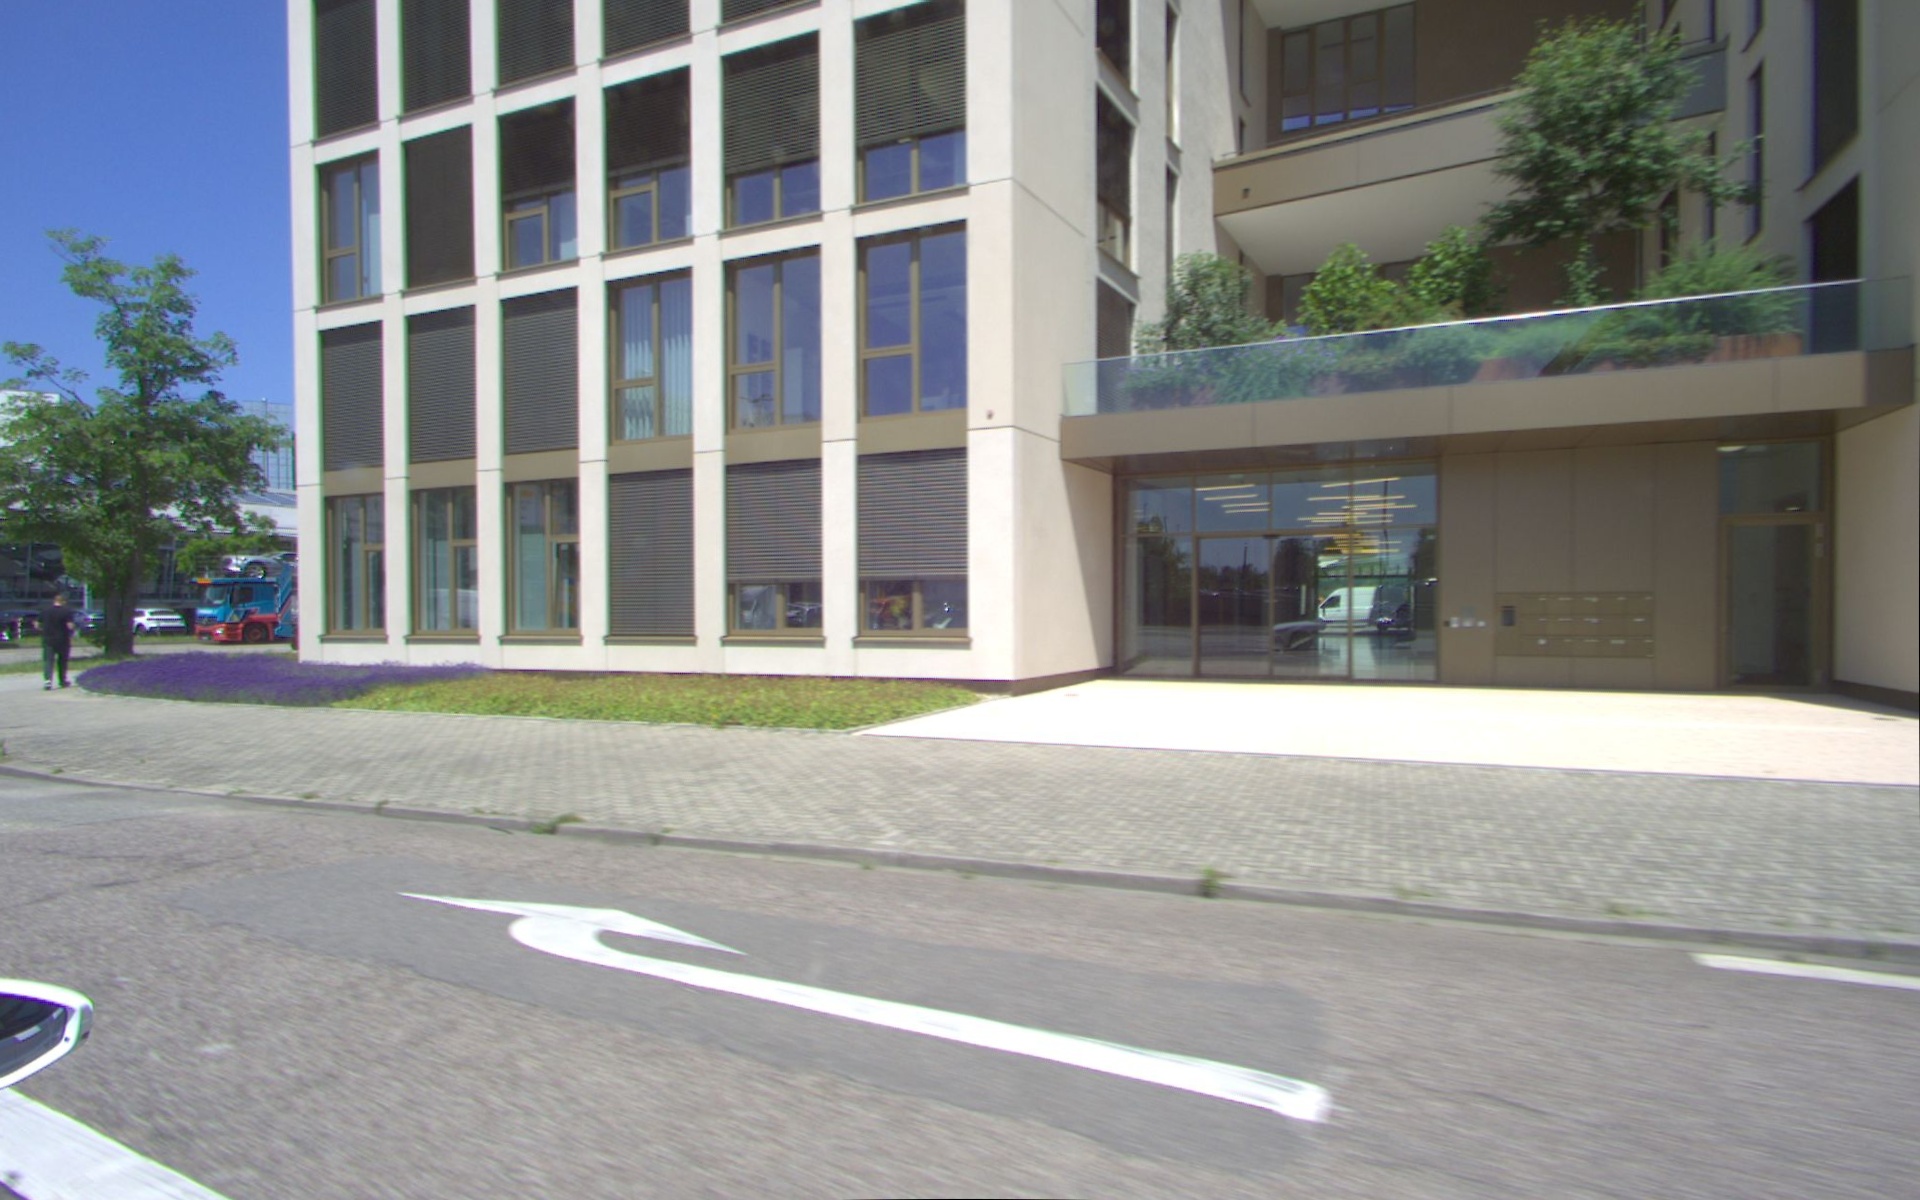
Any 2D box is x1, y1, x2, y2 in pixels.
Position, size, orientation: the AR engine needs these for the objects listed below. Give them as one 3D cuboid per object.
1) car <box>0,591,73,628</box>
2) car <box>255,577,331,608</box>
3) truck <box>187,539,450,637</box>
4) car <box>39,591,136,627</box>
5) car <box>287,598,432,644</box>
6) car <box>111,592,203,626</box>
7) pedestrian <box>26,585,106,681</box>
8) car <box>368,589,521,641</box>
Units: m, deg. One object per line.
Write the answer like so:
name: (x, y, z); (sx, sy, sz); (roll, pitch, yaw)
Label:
car: (-43.892, 0.430, 46.826); (4.397, 1.661, 1.829); (1, 0, 22)
car: (-40.161, -0.439, 60.307); (3.671, 1.801, 1.733); (0, 0, -41)
truck: (-30.156, -0.513, 47.919); (3.050, 4.137, 10.615); (1, 0, 26)
car: (-42.864, 0.425, 49.190); (4.398, 1.662, 1.828); (1, 1, 23)
car: (-20.220, 0.687, 33.882); (3.930, 1.454, 1.607); (0, 0, -18)
car: (-41.404, 0.438, 51.602); (4.398, 1.662, 1.828); (1, 1, 23)
pedestrian: (-17.806, 0.635, 19.960); (0.758, 1.870, 0.867); (-1, 2, -4)
car: (-19.055, 0.534, 37.237); (4.822, 1.840, 1.701); (0, 0, -20)
